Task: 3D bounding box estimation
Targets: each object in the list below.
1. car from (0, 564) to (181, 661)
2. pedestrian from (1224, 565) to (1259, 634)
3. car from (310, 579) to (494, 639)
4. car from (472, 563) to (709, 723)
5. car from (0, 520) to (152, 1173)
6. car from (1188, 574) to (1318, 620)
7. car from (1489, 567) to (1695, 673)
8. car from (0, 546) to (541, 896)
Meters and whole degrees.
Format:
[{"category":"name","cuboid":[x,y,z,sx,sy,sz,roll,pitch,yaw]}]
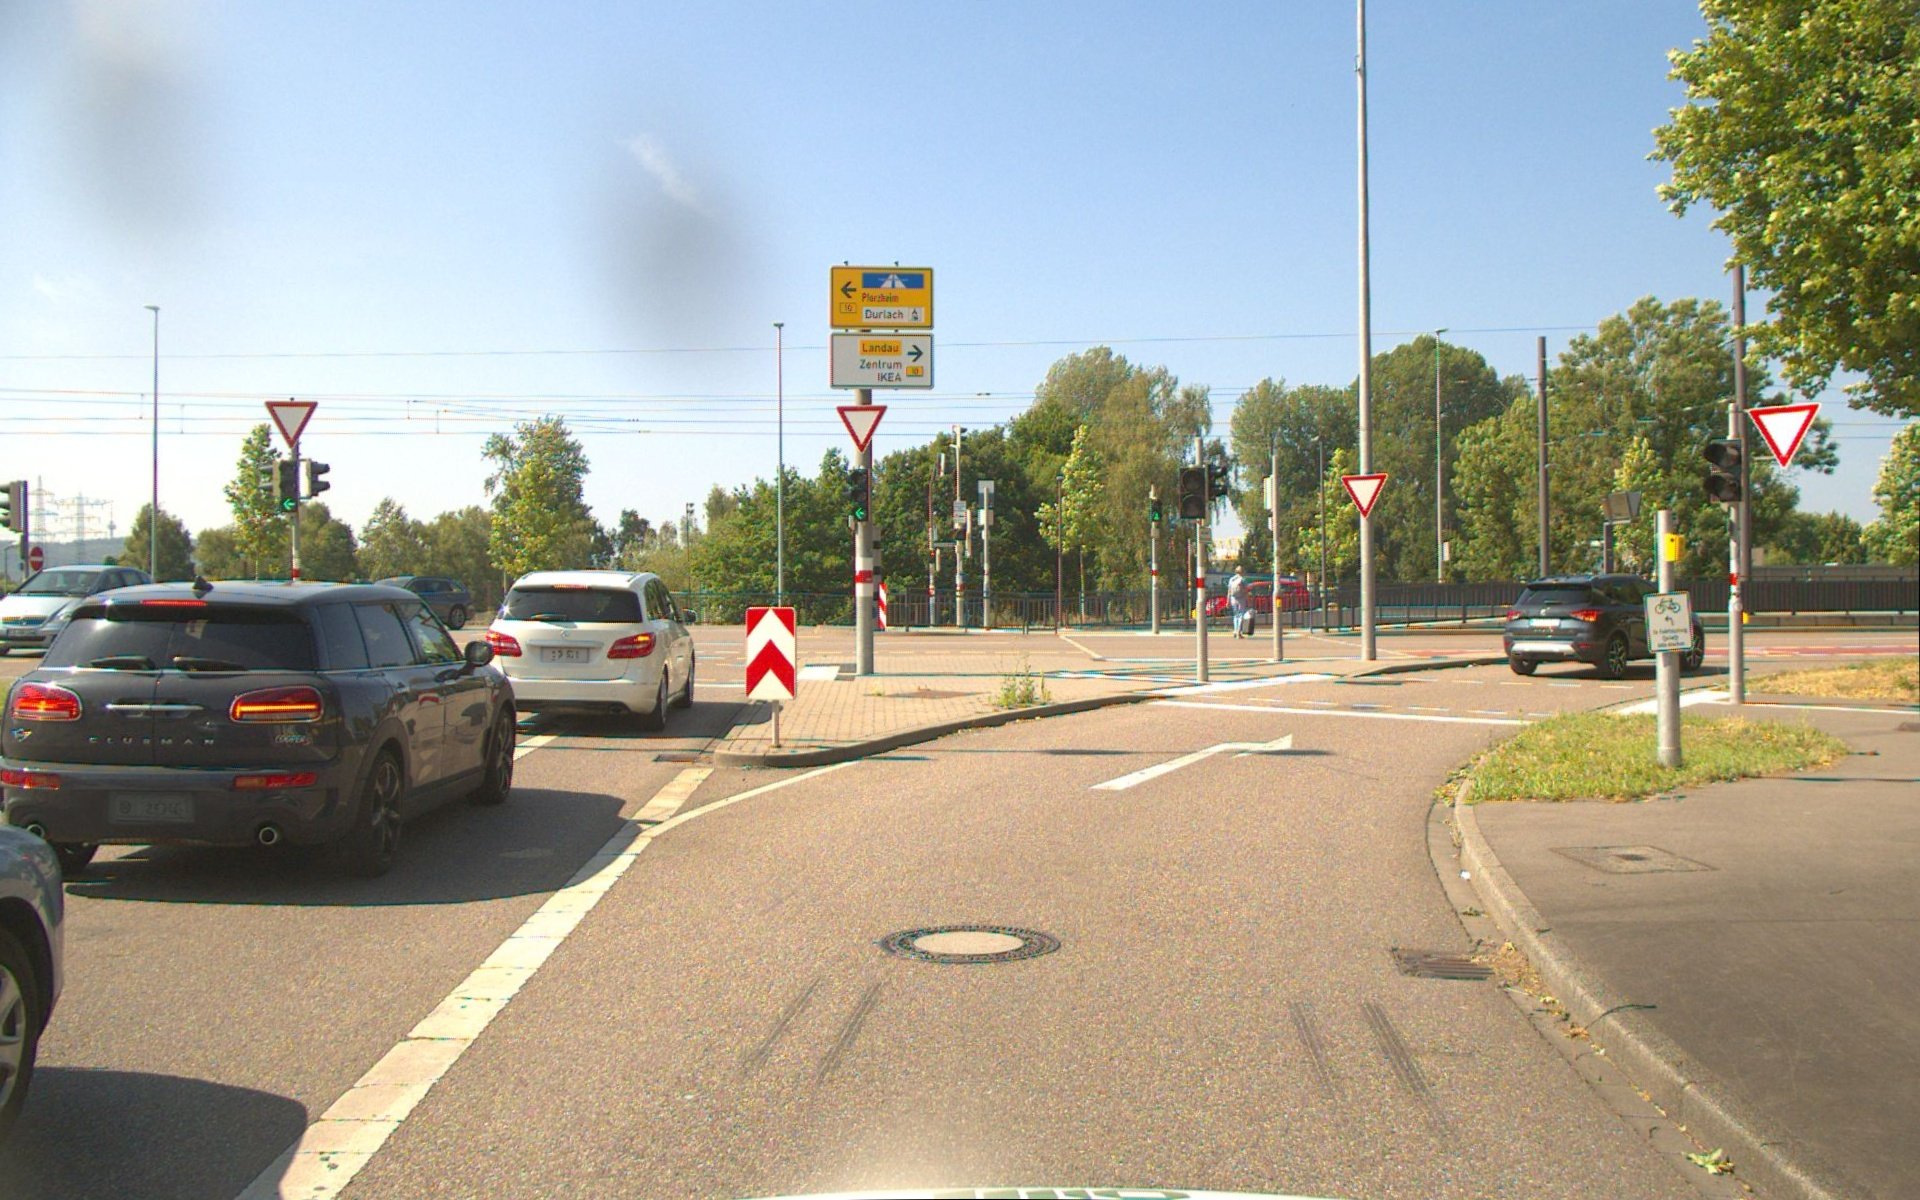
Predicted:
[{"category":"car","cuboid":[-16.243,0.175,30.914,1.594,1.653,3.915,-1,1,-2]},{"category":"pedestrian","cuboid":[6.459,-0.024,37.961,0.756,1.537,1.008,-1,1,8]},{"category":"car","cuboid":[-15.440,0.215,46.044,2.019,1.529,4.809,0,1,27]},{"category":"car","cuboid":[-3.751,0.376,17.514,1.706,1.473,4.386,0,1,-3]},{"category":"car","cuboid":[-3.117,0.635,2.774,1.672,1.600,4.171,-2,1,-4]},{"category":"car","cuboid":[9.689,-0.105,54.819,3.909,1.470,1.745,-1,1,-5]},{"category":"car","cuboid":[9.977,0.285,26.028,3.345,1.550,1.651,0,0,-41]},{"category":"car","cuboid":[-3.730,0.522,9.539,1.703,1.538,4.198,-1,1,-3]}]
